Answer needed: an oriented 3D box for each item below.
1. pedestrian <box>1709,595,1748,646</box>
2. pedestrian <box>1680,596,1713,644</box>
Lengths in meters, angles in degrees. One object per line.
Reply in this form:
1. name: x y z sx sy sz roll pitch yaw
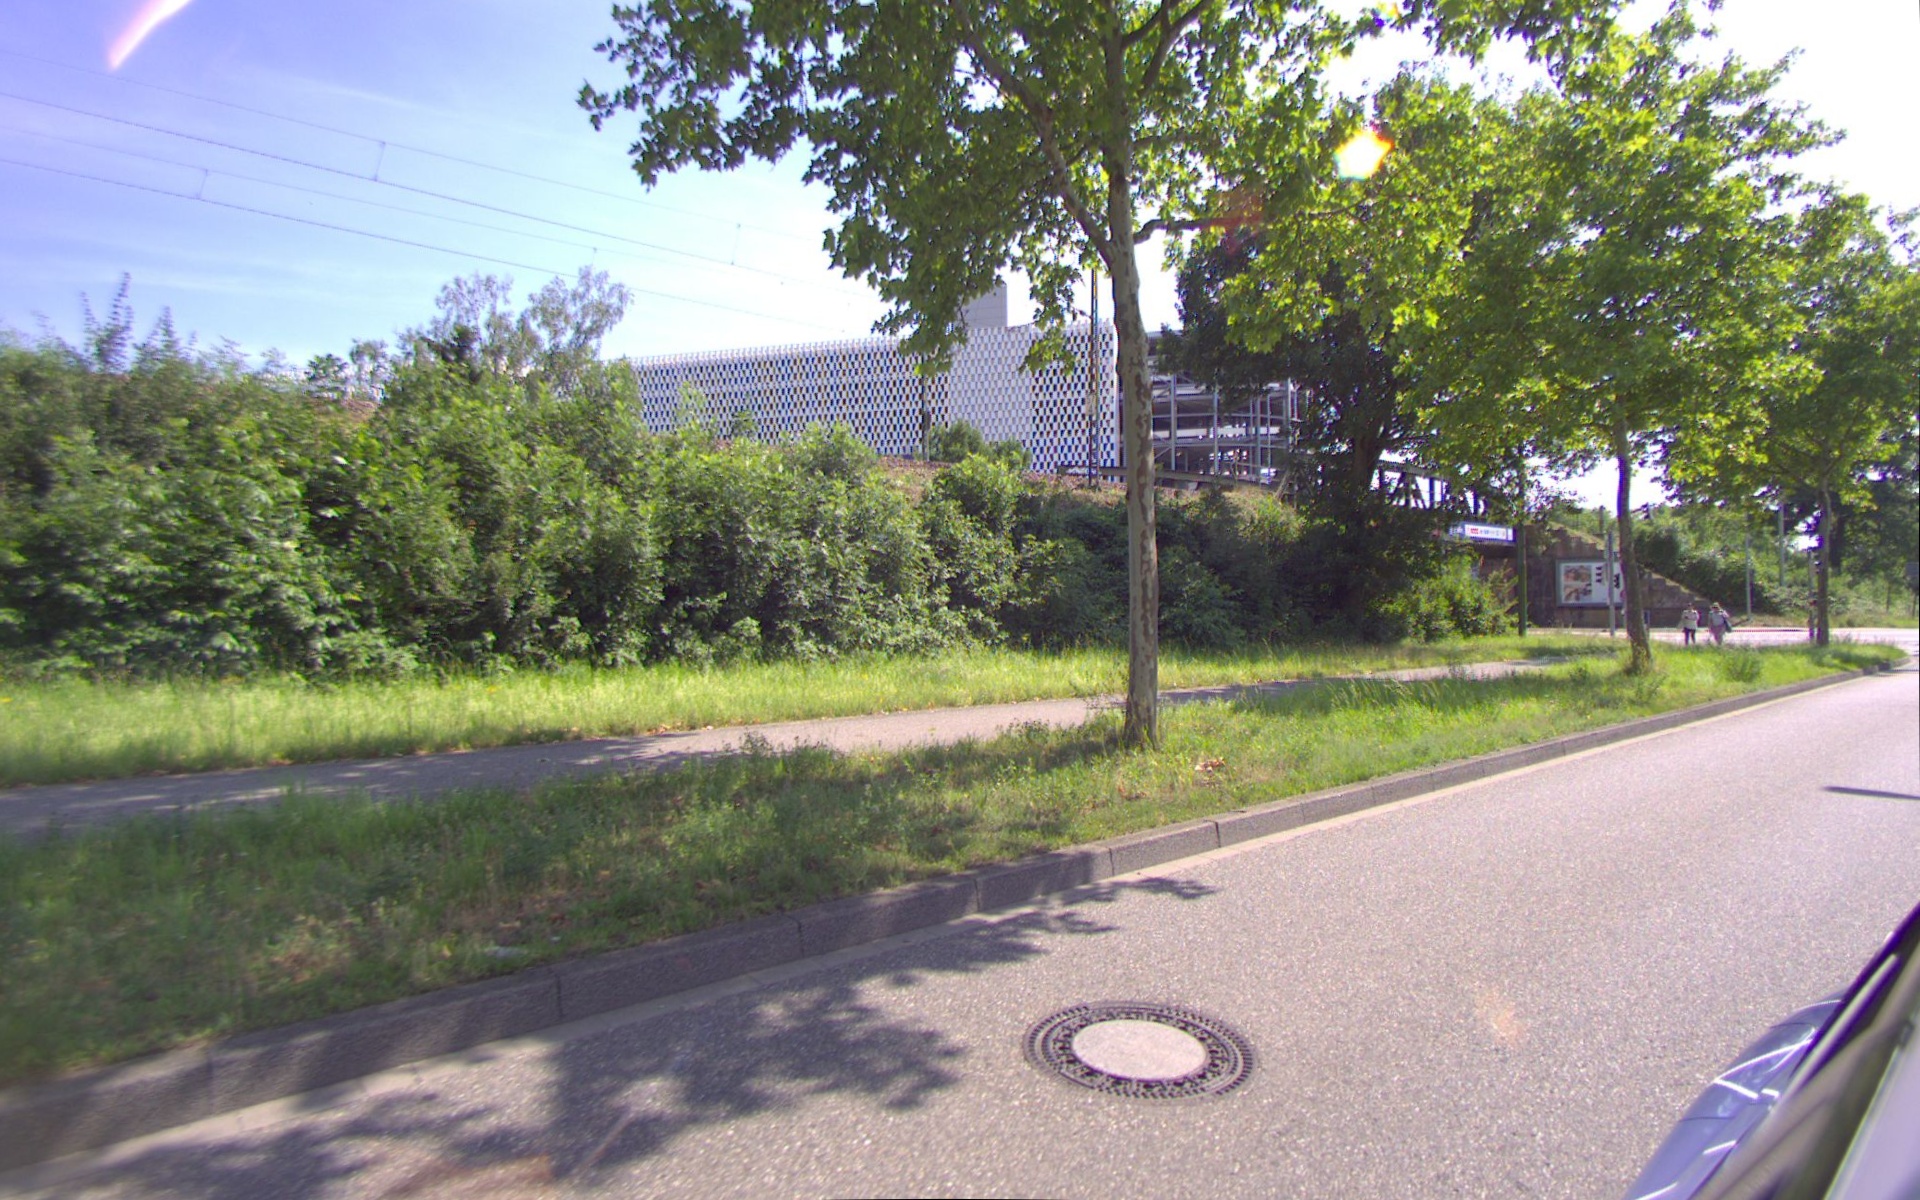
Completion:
1. pedestrian: 25.328 0.668 33.360 0.764 1.632 0.869 0 -1 -41
2. pedestrian: 24.935 0.676 34.256 0.764 1.600 0.730 0 -1 -41
